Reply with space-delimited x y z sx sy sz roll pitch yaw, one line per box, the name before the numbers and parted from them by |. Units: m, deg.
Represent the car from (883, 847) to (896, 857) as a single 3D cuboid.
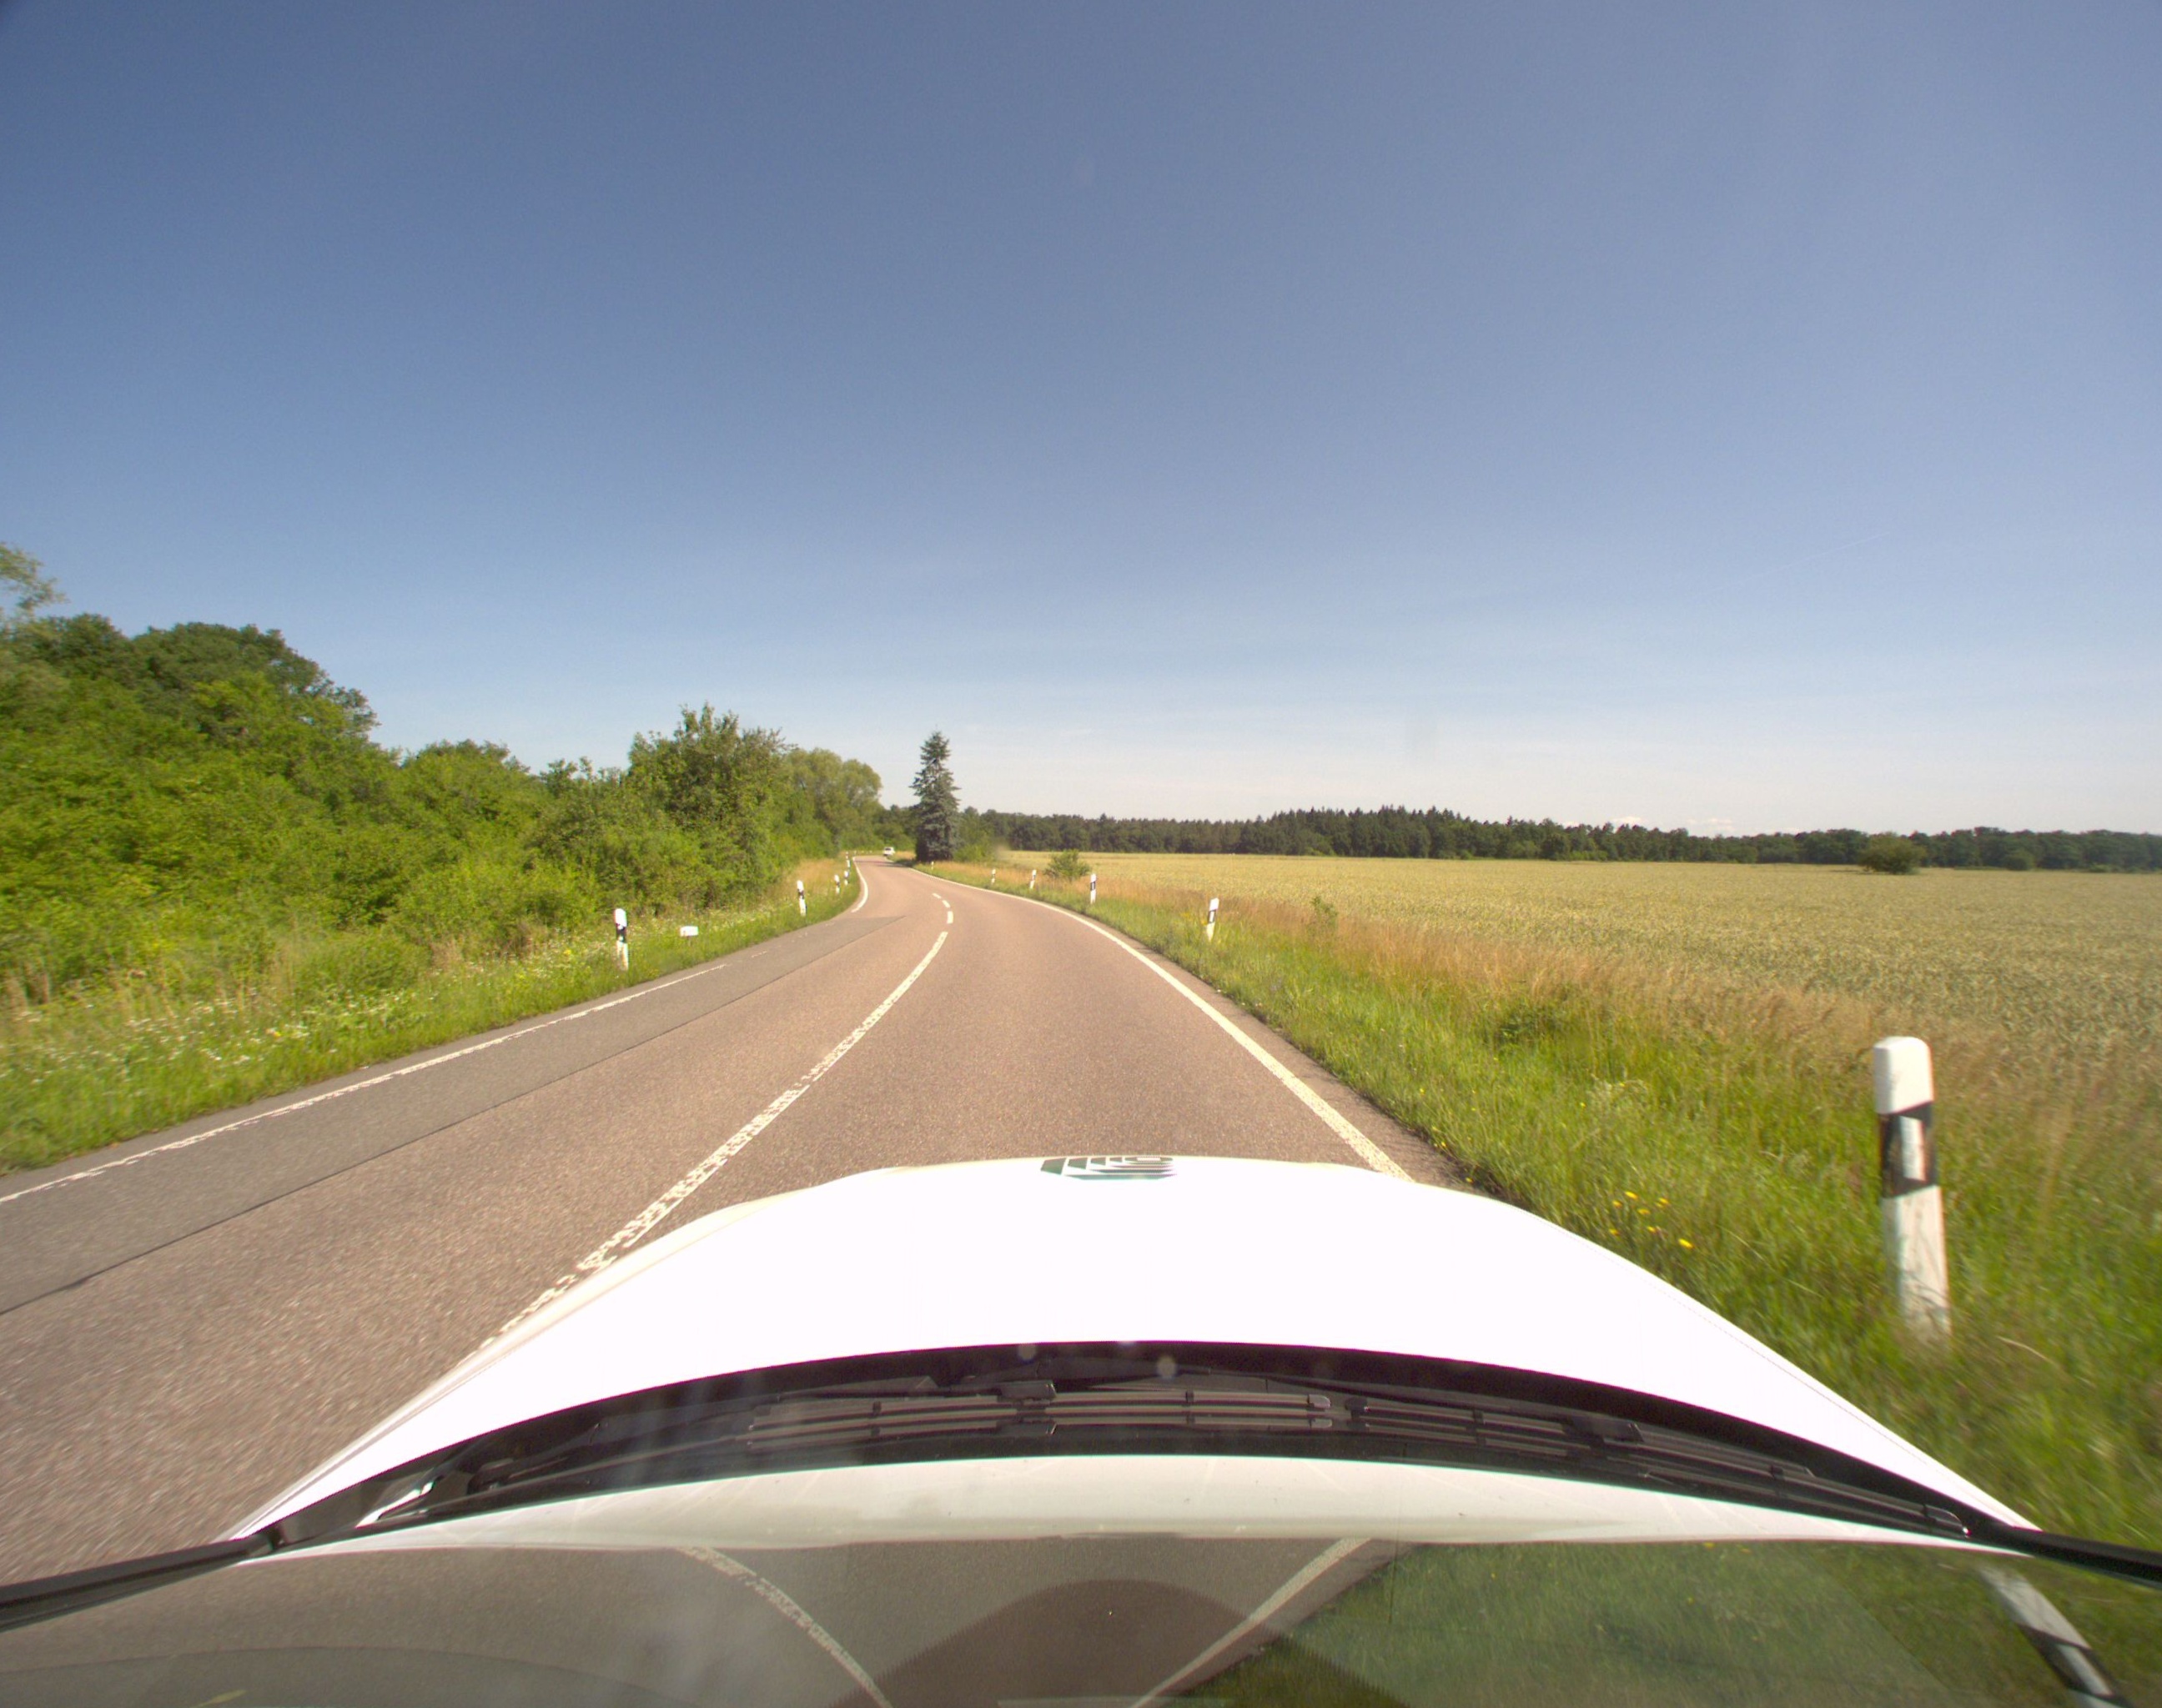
car | -40.044 -0.451 170.431 1.960 1.802 4.151 3 1 -7
